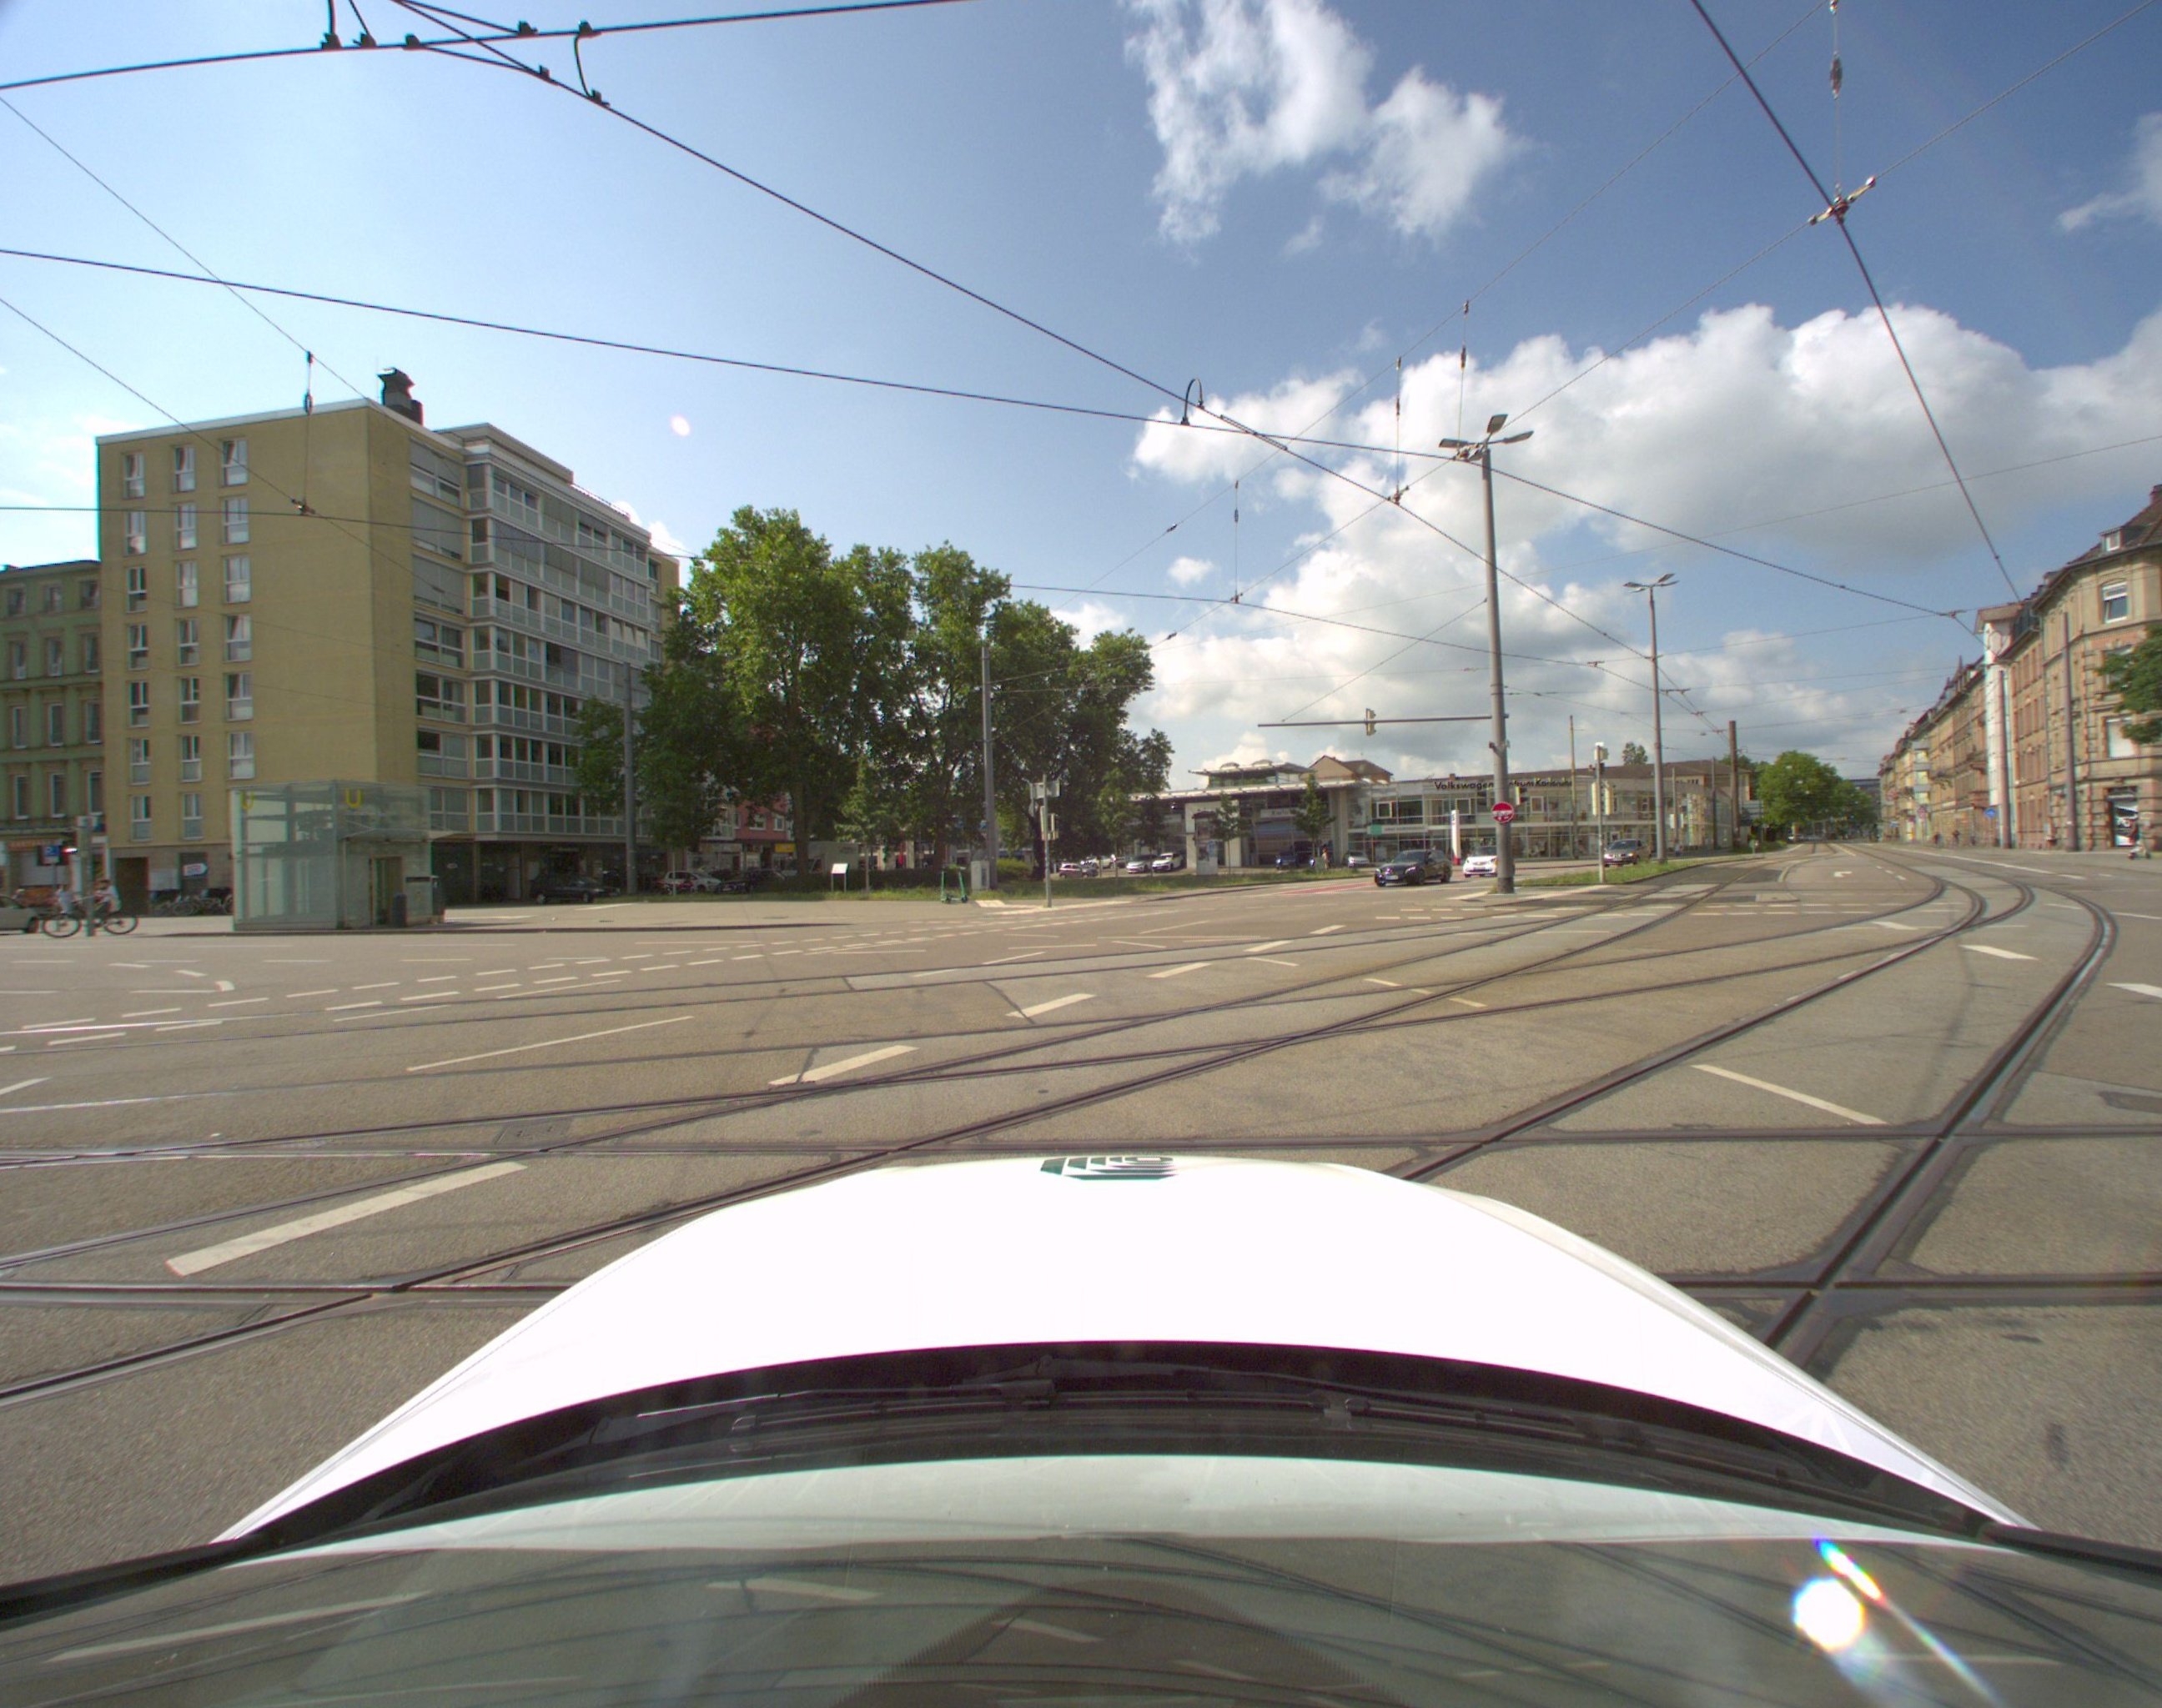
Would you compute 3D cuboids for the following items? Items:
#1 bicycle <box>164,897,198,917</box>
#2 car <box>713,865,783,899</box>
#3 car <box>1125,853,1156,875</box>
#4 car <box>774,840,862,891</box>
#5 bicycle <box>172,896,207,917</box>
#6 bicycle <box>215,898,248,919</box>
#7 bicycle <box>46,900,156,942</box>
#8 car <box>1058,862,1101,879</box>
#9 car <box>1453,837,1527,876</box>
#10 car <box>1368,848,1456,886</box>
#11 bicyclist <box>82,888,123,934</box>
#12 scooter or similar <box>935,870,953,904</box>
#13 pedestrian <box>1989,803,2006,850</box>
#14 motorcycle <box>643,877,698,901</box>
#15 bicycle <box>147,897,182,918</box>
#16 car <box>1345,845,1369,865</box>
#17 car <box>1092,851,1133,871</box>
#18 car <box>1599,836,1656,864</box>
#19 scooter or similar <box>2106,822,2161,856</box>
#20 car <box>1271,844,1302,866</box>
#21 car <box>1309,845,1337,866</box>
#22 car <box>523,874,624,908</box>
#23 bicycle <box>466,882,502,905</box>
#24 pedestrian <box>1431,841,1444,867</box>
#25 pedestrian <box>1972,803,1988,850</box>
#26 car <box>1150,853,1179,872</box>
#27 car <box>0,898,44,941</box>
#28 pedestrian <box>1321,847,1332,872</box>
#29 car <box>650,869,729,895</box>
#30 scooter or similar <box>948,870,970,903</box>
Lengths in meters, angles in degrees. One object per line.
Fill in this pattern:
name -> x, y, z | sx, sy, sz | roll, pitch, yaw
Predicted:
bicycle -> -41.324, 2.425, 37.383 | 1.451, 0.922, 0.294 | 0, 0, 8
car -> -18.276, 1.494, 44.950 | 1.985, 1.706, 4.004 | -2, 0, 3
car -> 5.761, 0.935, 78.610 | 1.977, 2.013, 4.019 | 1, 0, 19
car -> -16.749, 0.705, 52.438 | 1.980, 3.043, 7.272 | -2, -1, 12
bicycle -> -41.269, 2.420, 37.699 | 1.451, 0.922, 0.294 | -1, -1, 8
bicycle -> -38.681, 2.491, 37.062 | 1.450, 0.922, 0.294 | 0, 0, 11
bicycle -> -29.975, 2.021, 24.939 | 0.537, 1.106, 2.114 | -2, 0, 38
car -> -0.154, 1.504, 75.571 | 3.636, 1.488, 1.683 | 1, 1, 28
car -> 20.331, 0.124, 40.414 | 4.022, 1.838, 1.976 | 0, 0, -43
car -> 13.515, 0.507, 33.202 | 3.963, 1.376, 1.848 | -1, 0, -44
bicyclist -> -29.997, 1.728, 24.964 | 0.390, 1.336, 0.789 | 0, 0, 37
scooter or similar -> -5.025, 1.199, 29.832 | 0.382, 1.196, 1.056 | 0, 0, -26
pedestrian -> 61.355, -1.839, 54.529 | 0.892, 3.076, 0.719 | 1, -1, -38
motorcycle -> -19.622, 1.683, 38.946 | 2.301, 1.030, 0.965 | -1, -2, -31
bicycle -> -41.609, 2.446, 36.968 | 1.451, 0.922, 0.294 | -1, -1, 8
car -> 23.835, 0.090, 70.402 | 1.913, 1.683, 4.019 | 0, 0, 18
car -> 3.398, 0.742, 87.265 | 3.948, 2.013, 2.013 | 0, 0, 32
car -> 32.854, -0.240, 48.908 | 3.757, 1.574, 1.976 | -2, 0, -42
scooter or similar -> 46.177, -0.629, 35.499 | 1.165, 1.386, 2.822 | 0, 0, 36
car -> 18.160, 0.110, 71.835 | 1.976, 1.838, 4.022 | -3, -1, 23
car -> 20.968, 0.118, 70.604 | 1.976, 1.725, 4.021 | 0, 0, 22
car -> -25.243, 1.817, 40.560 | 4.057, 1.514, 1.814 | -2, 0, 10
bicycle -> -30.177, 1.985, 41.184 | 0.588, 1.129, 1.352 | 0, 0, 15
pedestrian -> 28.744, -0.009, 65.737 | 0.862, 2.013, 0.707 | -2, 0, 19
pedestrian -> 60.878, -1.836, 55.150 | 0.892, 3.120, 0.660 | 1, -1, -38
car -> 8.019, 0.824, 78.040 | 1.771, 1.682, 4.019 | -2, 0, 19
car -> -38.586, 2.322, 28.387 | 1.784, 1.453, 3.463 | -2, -2, -29
pedestrian -> 19.816, 0.457, 65.802 | 0.800, 2.014, 0.812 | 0, 0, 22
car -> -24.331, 1.750, 50.648 | 4.057, 1.514, 1.814 | 0, 0, 10
scooter or similar -> -4.475, 1.177, 29.846 | 0.383, 1.196, 1.053 | 0, 0, -36
